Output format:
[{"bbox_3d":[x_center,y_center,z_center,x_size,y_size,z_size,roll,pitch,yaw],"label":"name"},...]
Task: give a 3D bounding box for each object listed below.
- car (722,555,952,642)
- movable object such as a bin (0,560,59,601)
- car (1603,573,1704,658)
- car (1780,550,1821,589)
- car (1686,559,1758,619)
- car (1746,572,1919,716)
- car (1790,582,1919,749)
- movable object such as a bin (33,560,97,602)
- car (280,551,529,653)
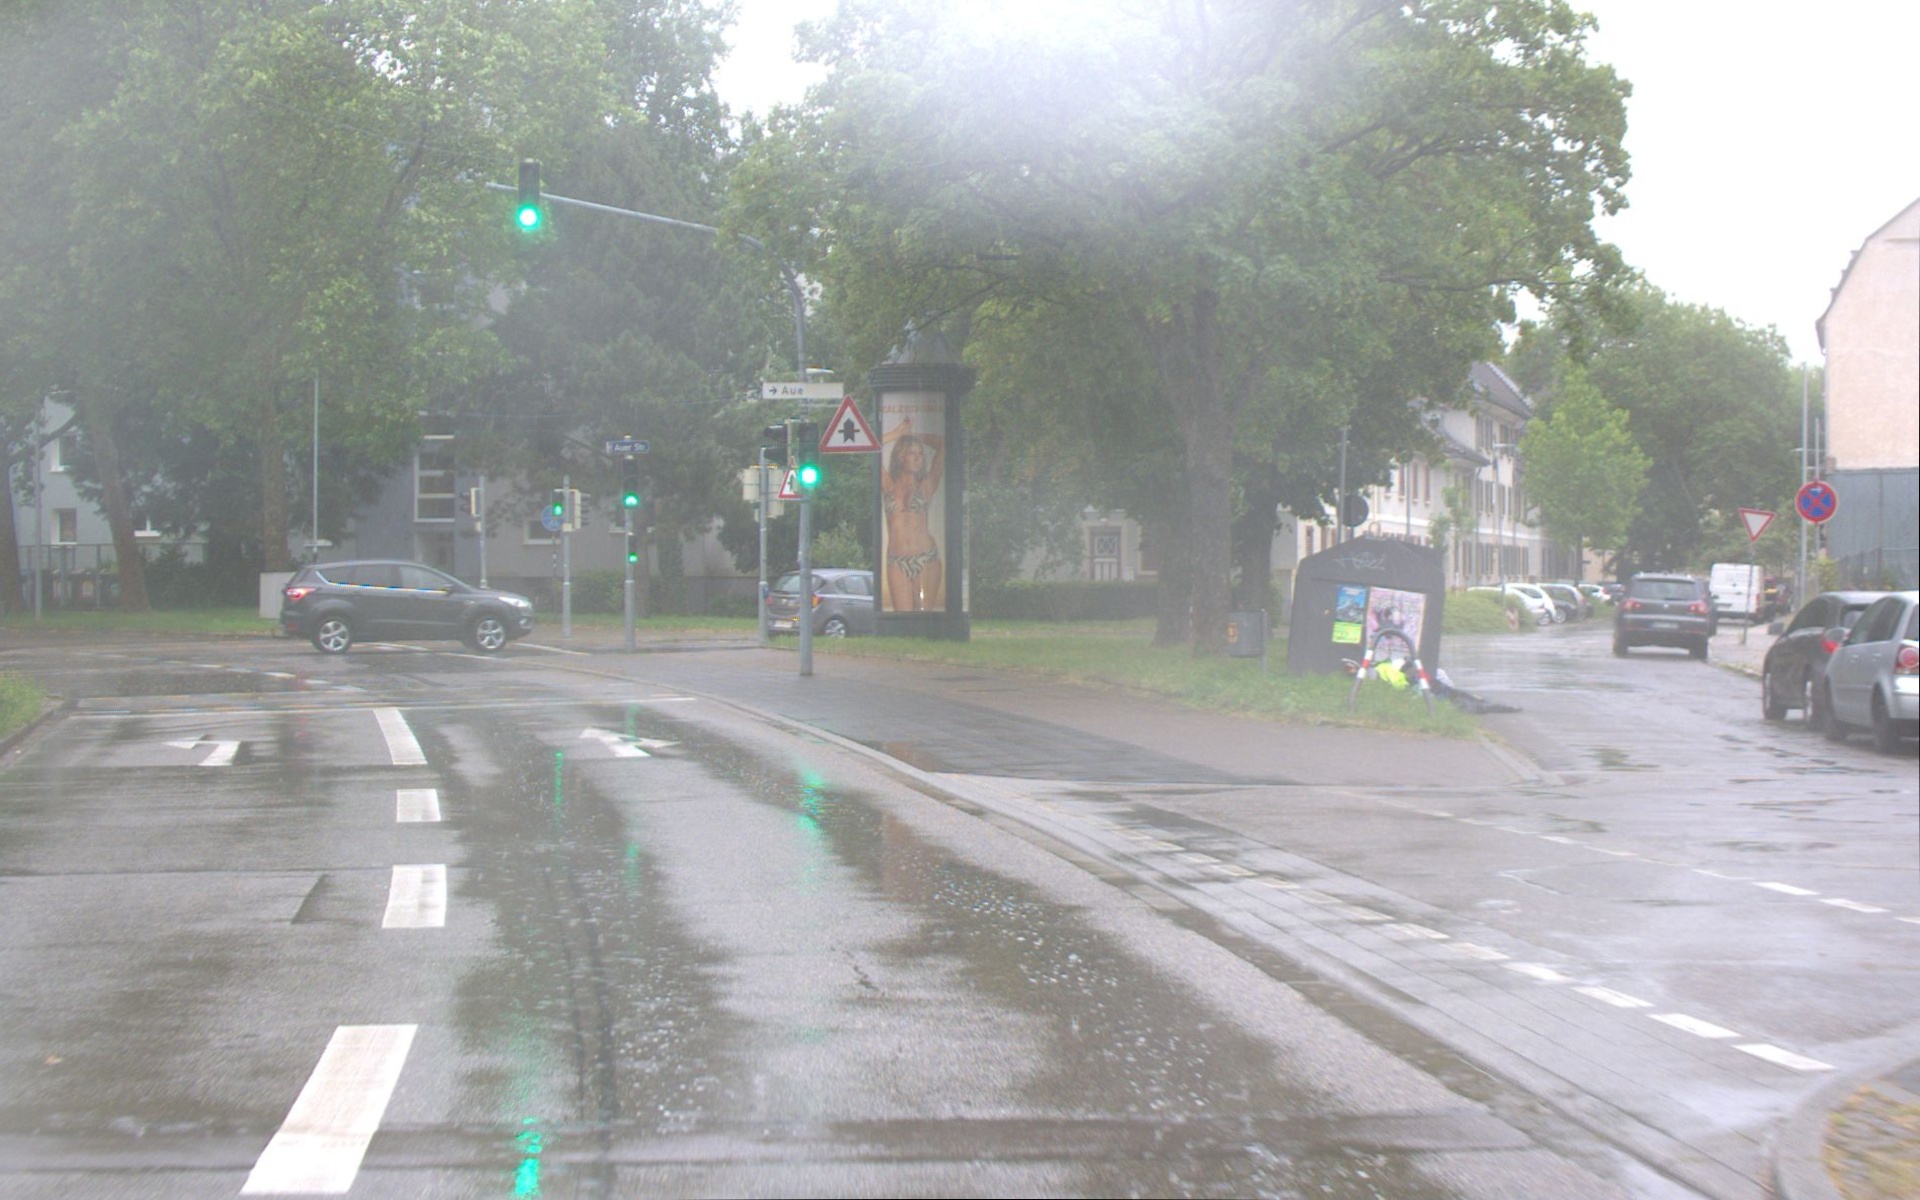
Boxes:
[{"bbox_3d":[-2.302,-0.014,65.044,1.999,1.597,4.078,1,0,44],"label":"car"},{"bbox_3d":[-32.842,-0.683,121.046,1.860,1.428,1.214,1,0,33],"label":"movable object such as a bin"},{"bbox_3d":[13.927,0.308,69.206,1.855,1.649,4.303,1,0,10],"label":"car"},{"bbox_3d":[44.765,-1.620,183.066,1.995,2.007,3.997,1,0,16],"label":"car"},{"bbox_3d":[28.996,-0.409,130.749,2.351,2.201,4.609,1,0,16],"label":"car"},{"bbox_3d":[9.568,0.444,36.501,1.698,1.428,4.156,1,0,3],"label":"car"},{"bbox_3d":[8.817,0.571,31.472,1.634,1.428,4.176,1,0,3],"label":"car"},{"bbox_3d":[-31.237,-0.673,119.985,1.860,1.428,1.214,1,0,33],"label":"movable object such as a bin"},{"bbox_3d":[-9.902,0.033,61.236,4.289,1.738,2.000,1,0,-11],"label":"car"}]
